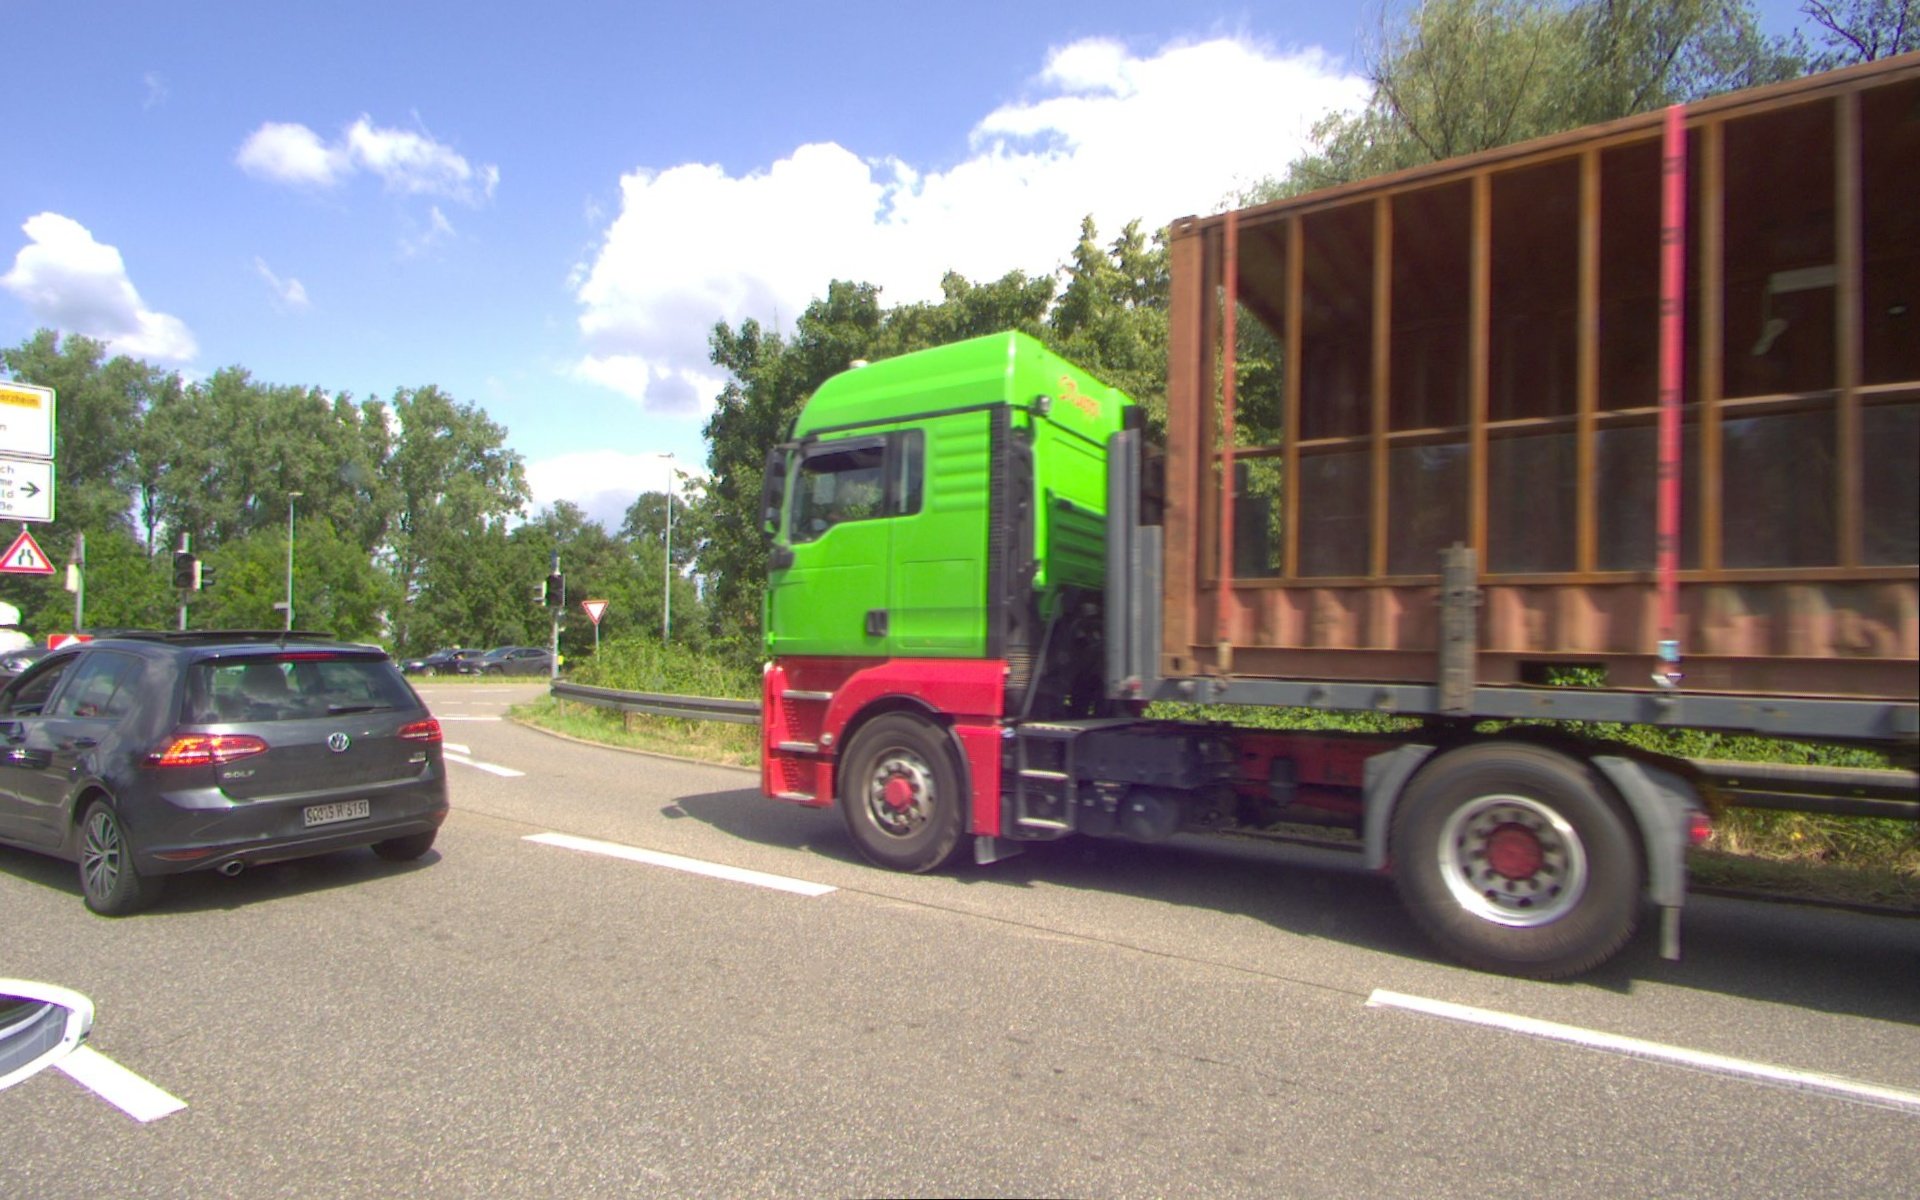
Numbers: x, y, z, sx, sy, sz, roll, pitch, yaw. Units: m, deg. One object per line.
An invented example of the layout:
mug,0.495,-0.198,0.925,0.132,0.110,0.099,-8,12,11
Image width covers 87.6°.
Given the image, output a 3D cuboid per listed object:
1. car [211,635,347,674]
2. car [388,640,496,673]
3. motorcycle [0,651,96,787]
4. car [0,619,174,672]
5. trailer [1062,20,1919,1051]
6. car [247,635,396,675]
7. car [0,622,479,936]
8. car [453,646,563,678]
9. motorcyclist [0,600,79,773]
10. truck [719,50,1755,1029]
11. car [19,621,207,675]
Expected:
car,-27.343,2.222,40.362,1.621,1.392,4.201,1,-3,30
car,-24.024,2.647,46.603,1.675,1.392,4.201,1,-3,30
motorcycle,-9.351,1.094,9.722,2.365,1.146,0.788,0,-2,32
car,-30.100,1.598,34.617,1.810,1.666,4.201,1,-3,30
trailer,6.995,-0.226,3.082,13.659,3.938,2.635,-1,-4,35
car,-24.262,2.136,38.223,1.621,1.392,4.527,1,-3,30
car,-5.048,0.904,6.490,3.815,1.497,1.640,0,-2,31
car,-20.375,2.841,45.338,1.621,1.306,4.397,1,-3,30
motorcyclist,-9.534,0.832,9.873,1.109,1.641,0.964,0,-2,32
truck,1.532,-0.140,6.830,5.796,3.950,2.865,-1,-4,34
car,-27.508,1.620,32.665,1.817,1.636,4.280,-1,-4,30
